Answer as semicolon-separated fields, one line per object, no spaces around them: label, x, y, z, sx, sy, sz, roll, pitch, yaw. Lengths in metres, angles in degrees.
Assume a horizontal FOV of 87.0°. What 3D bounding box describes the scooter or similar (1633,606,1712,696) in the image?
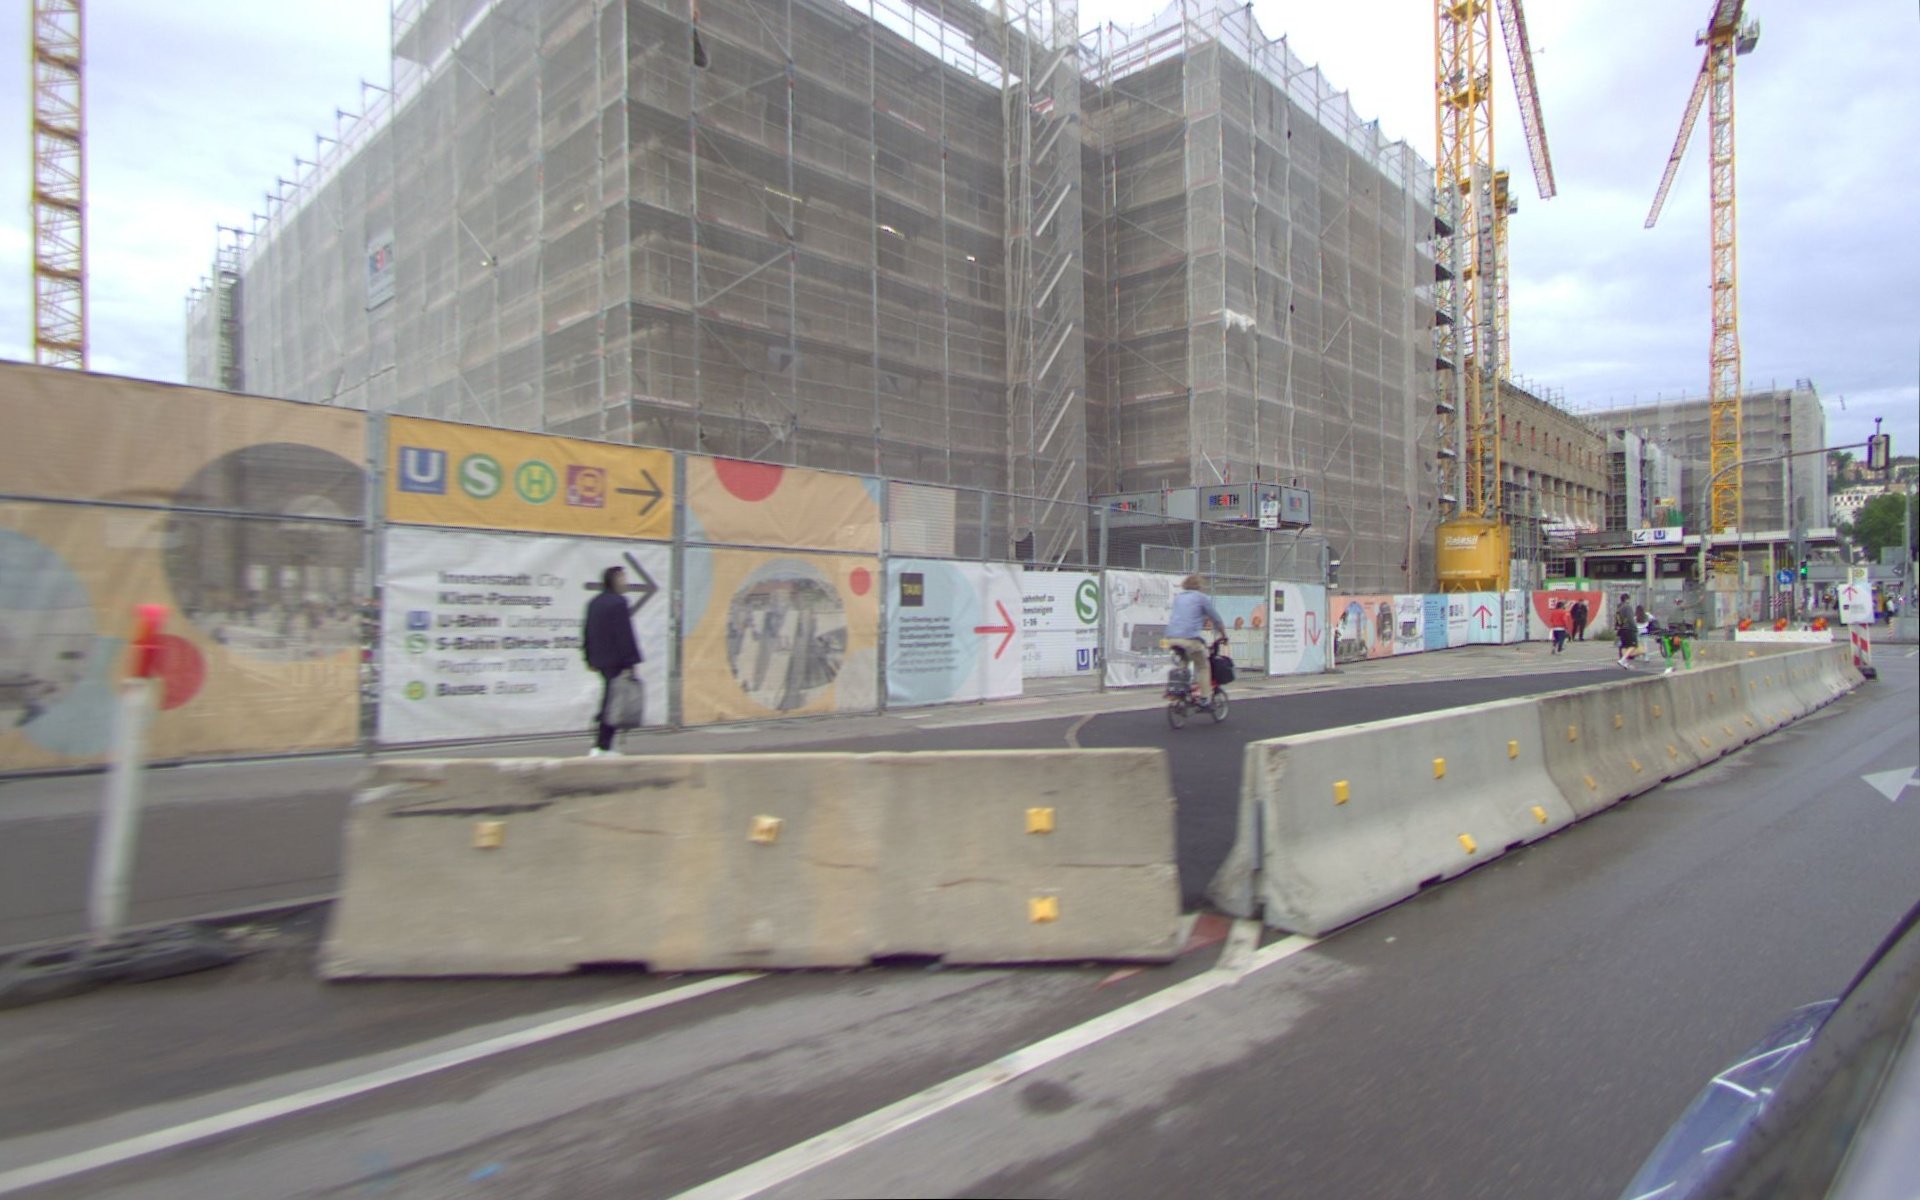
scooter or similar;11.074;0.780;15.735;1.003;1.350;0.494;0;0;-17

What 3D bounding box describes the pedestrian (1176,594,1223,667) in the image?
pedestrian;6.288;0.788;26.557;0.999;1.872;0.666;0;0;42

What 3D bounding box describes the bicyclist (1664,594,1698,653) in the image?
bicyclist;21.264;0.690;29.844;0.425;1.726;0.698;0;0;-26

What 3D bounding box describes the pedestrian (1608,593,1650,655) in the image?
pedestrian;19.288;0.674;29.183;0.866;1.778;0.815;0;0;-40

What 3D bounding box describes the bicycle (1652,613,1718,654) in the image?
bicycle;21.453;0.988;29.941;1.951;1.148;0.757;0;0;-26

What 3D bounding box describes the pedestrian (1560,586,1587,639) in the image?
pedestrian;23.851;0.460;39.345;0.615;2.039;0.642;0;0;-20

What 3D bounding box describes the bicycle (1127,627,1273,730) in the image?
bicycle;3.015;0.926;12.600;1.946;1.126;0.767;0;0;-40

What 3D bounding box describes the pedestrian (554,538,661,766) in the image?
pedestrian;-3.163;0.432;9.051;0.650;1.919;0.850;0;0;-40

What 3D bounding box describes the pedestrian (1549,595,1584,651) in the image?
pedestrian;19.271;0.718;32.163;0.701;1.749;0.743;0;0;-37

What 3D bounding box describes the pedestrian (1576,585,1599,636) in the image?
pedestrian;25.063;0.420;40.433;0.618;2.039;0.576;0;0;13

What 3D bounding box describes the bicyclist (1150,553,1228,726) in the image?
bicyclist;2.804;0.466;12.415;0.588;2.039;0.728;0;-1;-40

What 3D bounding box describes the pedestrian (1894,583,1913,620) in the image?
pedestrian;52.495;0.100;56.304;0.731;2.039;0.637;0;0;40

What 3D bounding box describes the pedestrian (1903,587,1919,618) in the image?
pedestrian;57.470;0.143;61.163;0.722;1.846;0.645;0;0;-41

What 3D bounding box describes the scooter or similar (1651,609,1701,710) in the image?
scooter or similar;10.099;0.813;14.270;0.523;1.350;1.011;0;0;38

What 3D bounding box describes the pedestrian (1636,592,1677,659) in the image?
pedestrian;19.481;0.697;28.315;0.798;1.776;0.808;2;4;28

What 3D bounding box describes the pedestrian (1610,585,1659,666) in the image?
pedestrian;17.327;0.625;25.995;0.849;2.037;0.789;0;0;-35
